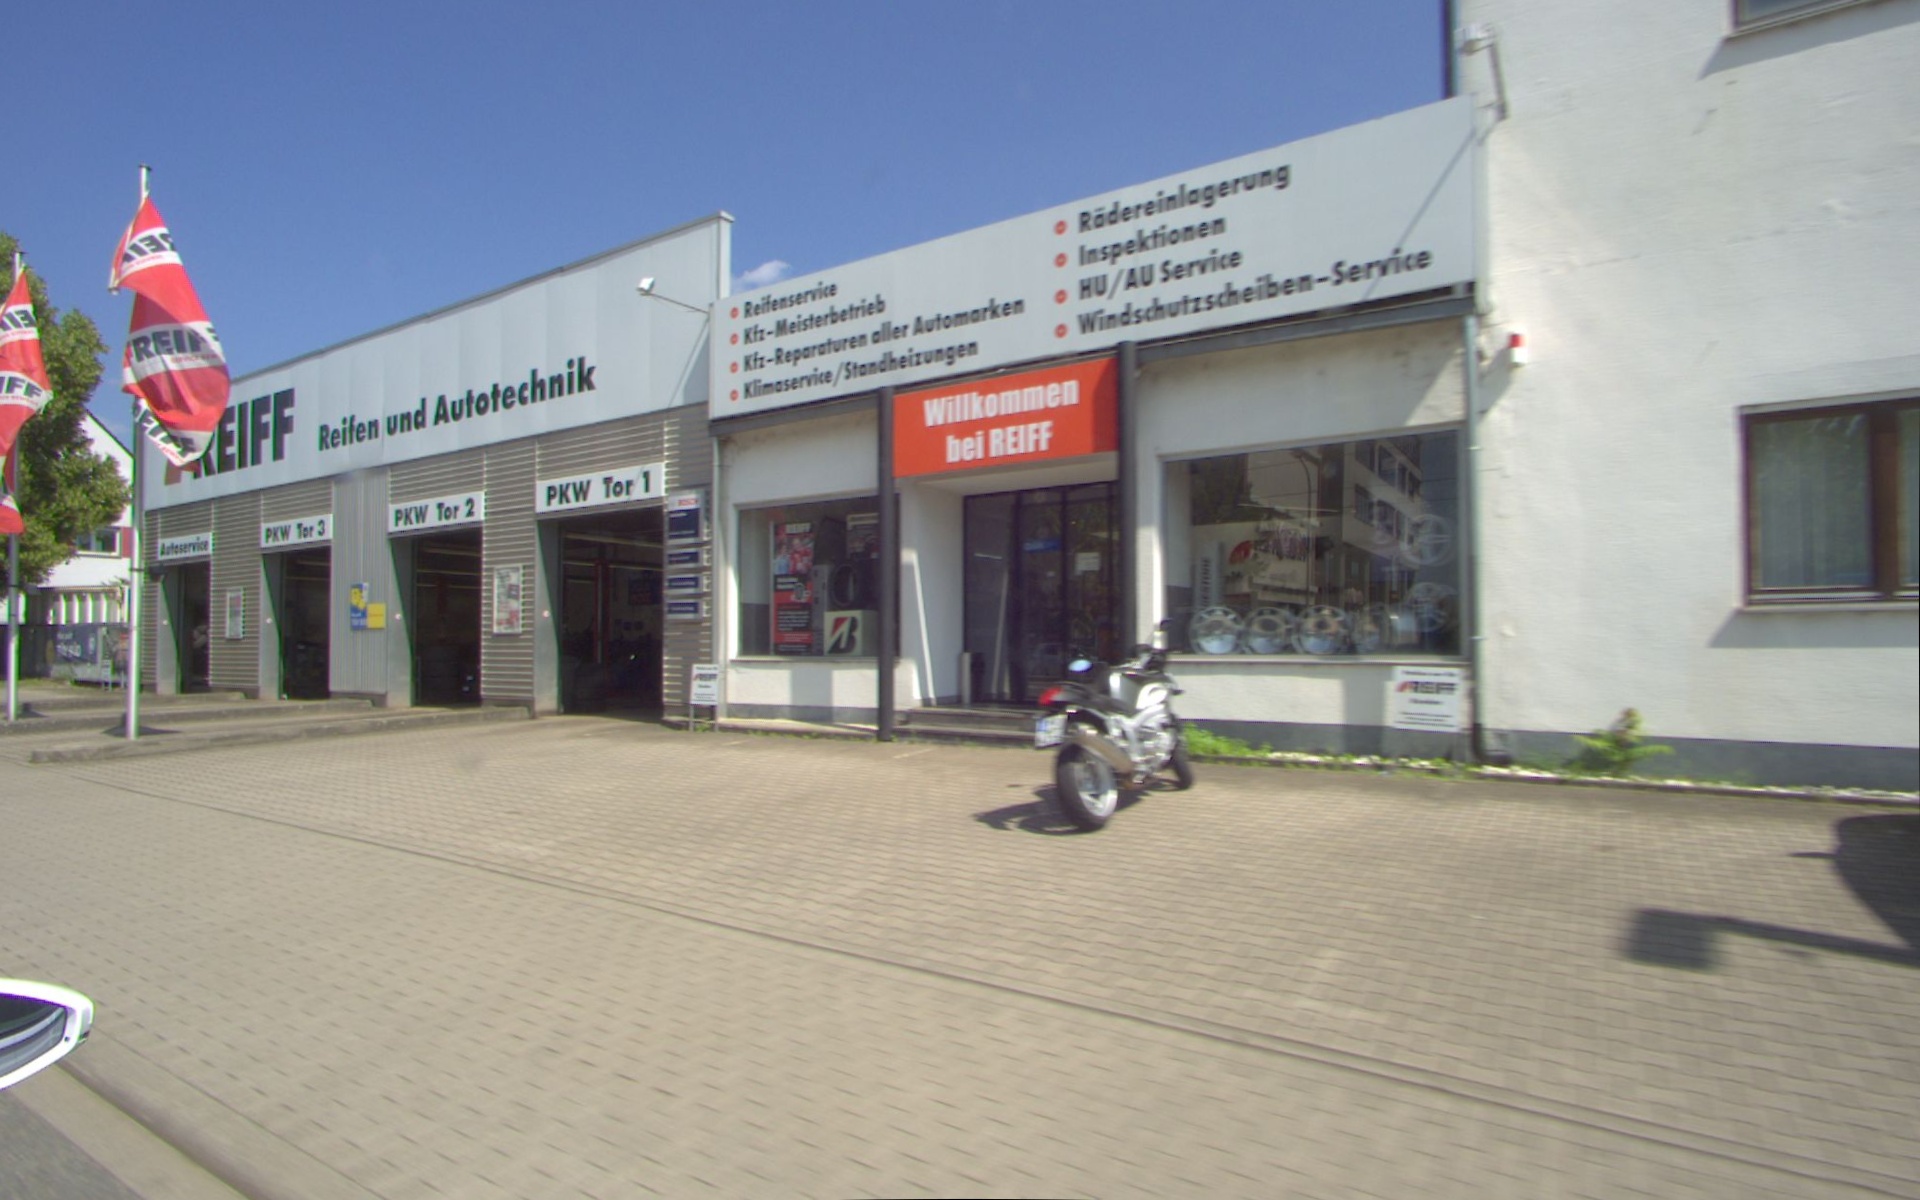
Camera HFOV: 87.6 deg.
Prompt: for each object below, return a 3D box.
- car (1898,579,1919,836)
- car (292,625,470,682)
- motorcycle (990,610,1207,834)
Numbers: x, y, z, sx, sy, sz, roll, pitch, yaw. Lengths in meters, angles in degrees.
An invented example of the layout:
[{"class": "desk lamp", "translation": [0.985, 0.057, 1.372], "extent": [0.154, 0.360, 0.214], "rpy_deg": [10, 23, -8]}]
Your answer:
[{"class": "car", "translation": [5.526, 0.644, 3.959], "extent": [1.863, 1.482, 3.978], "rpy_deg": [-1, 1, 31]}, {"class": "car", "translation": [-15.274, 1.393, 26.594], "extent": [1.698, 1.393, 3.760], "rpy_deg": [0, -2, 28]}, {"class": "motorcycle", "translation": [1.084, 0.766, 7.254], "extent": [0.721, 1.326, 2.178], "rpy_deg": [-1, 0, 32]}]
